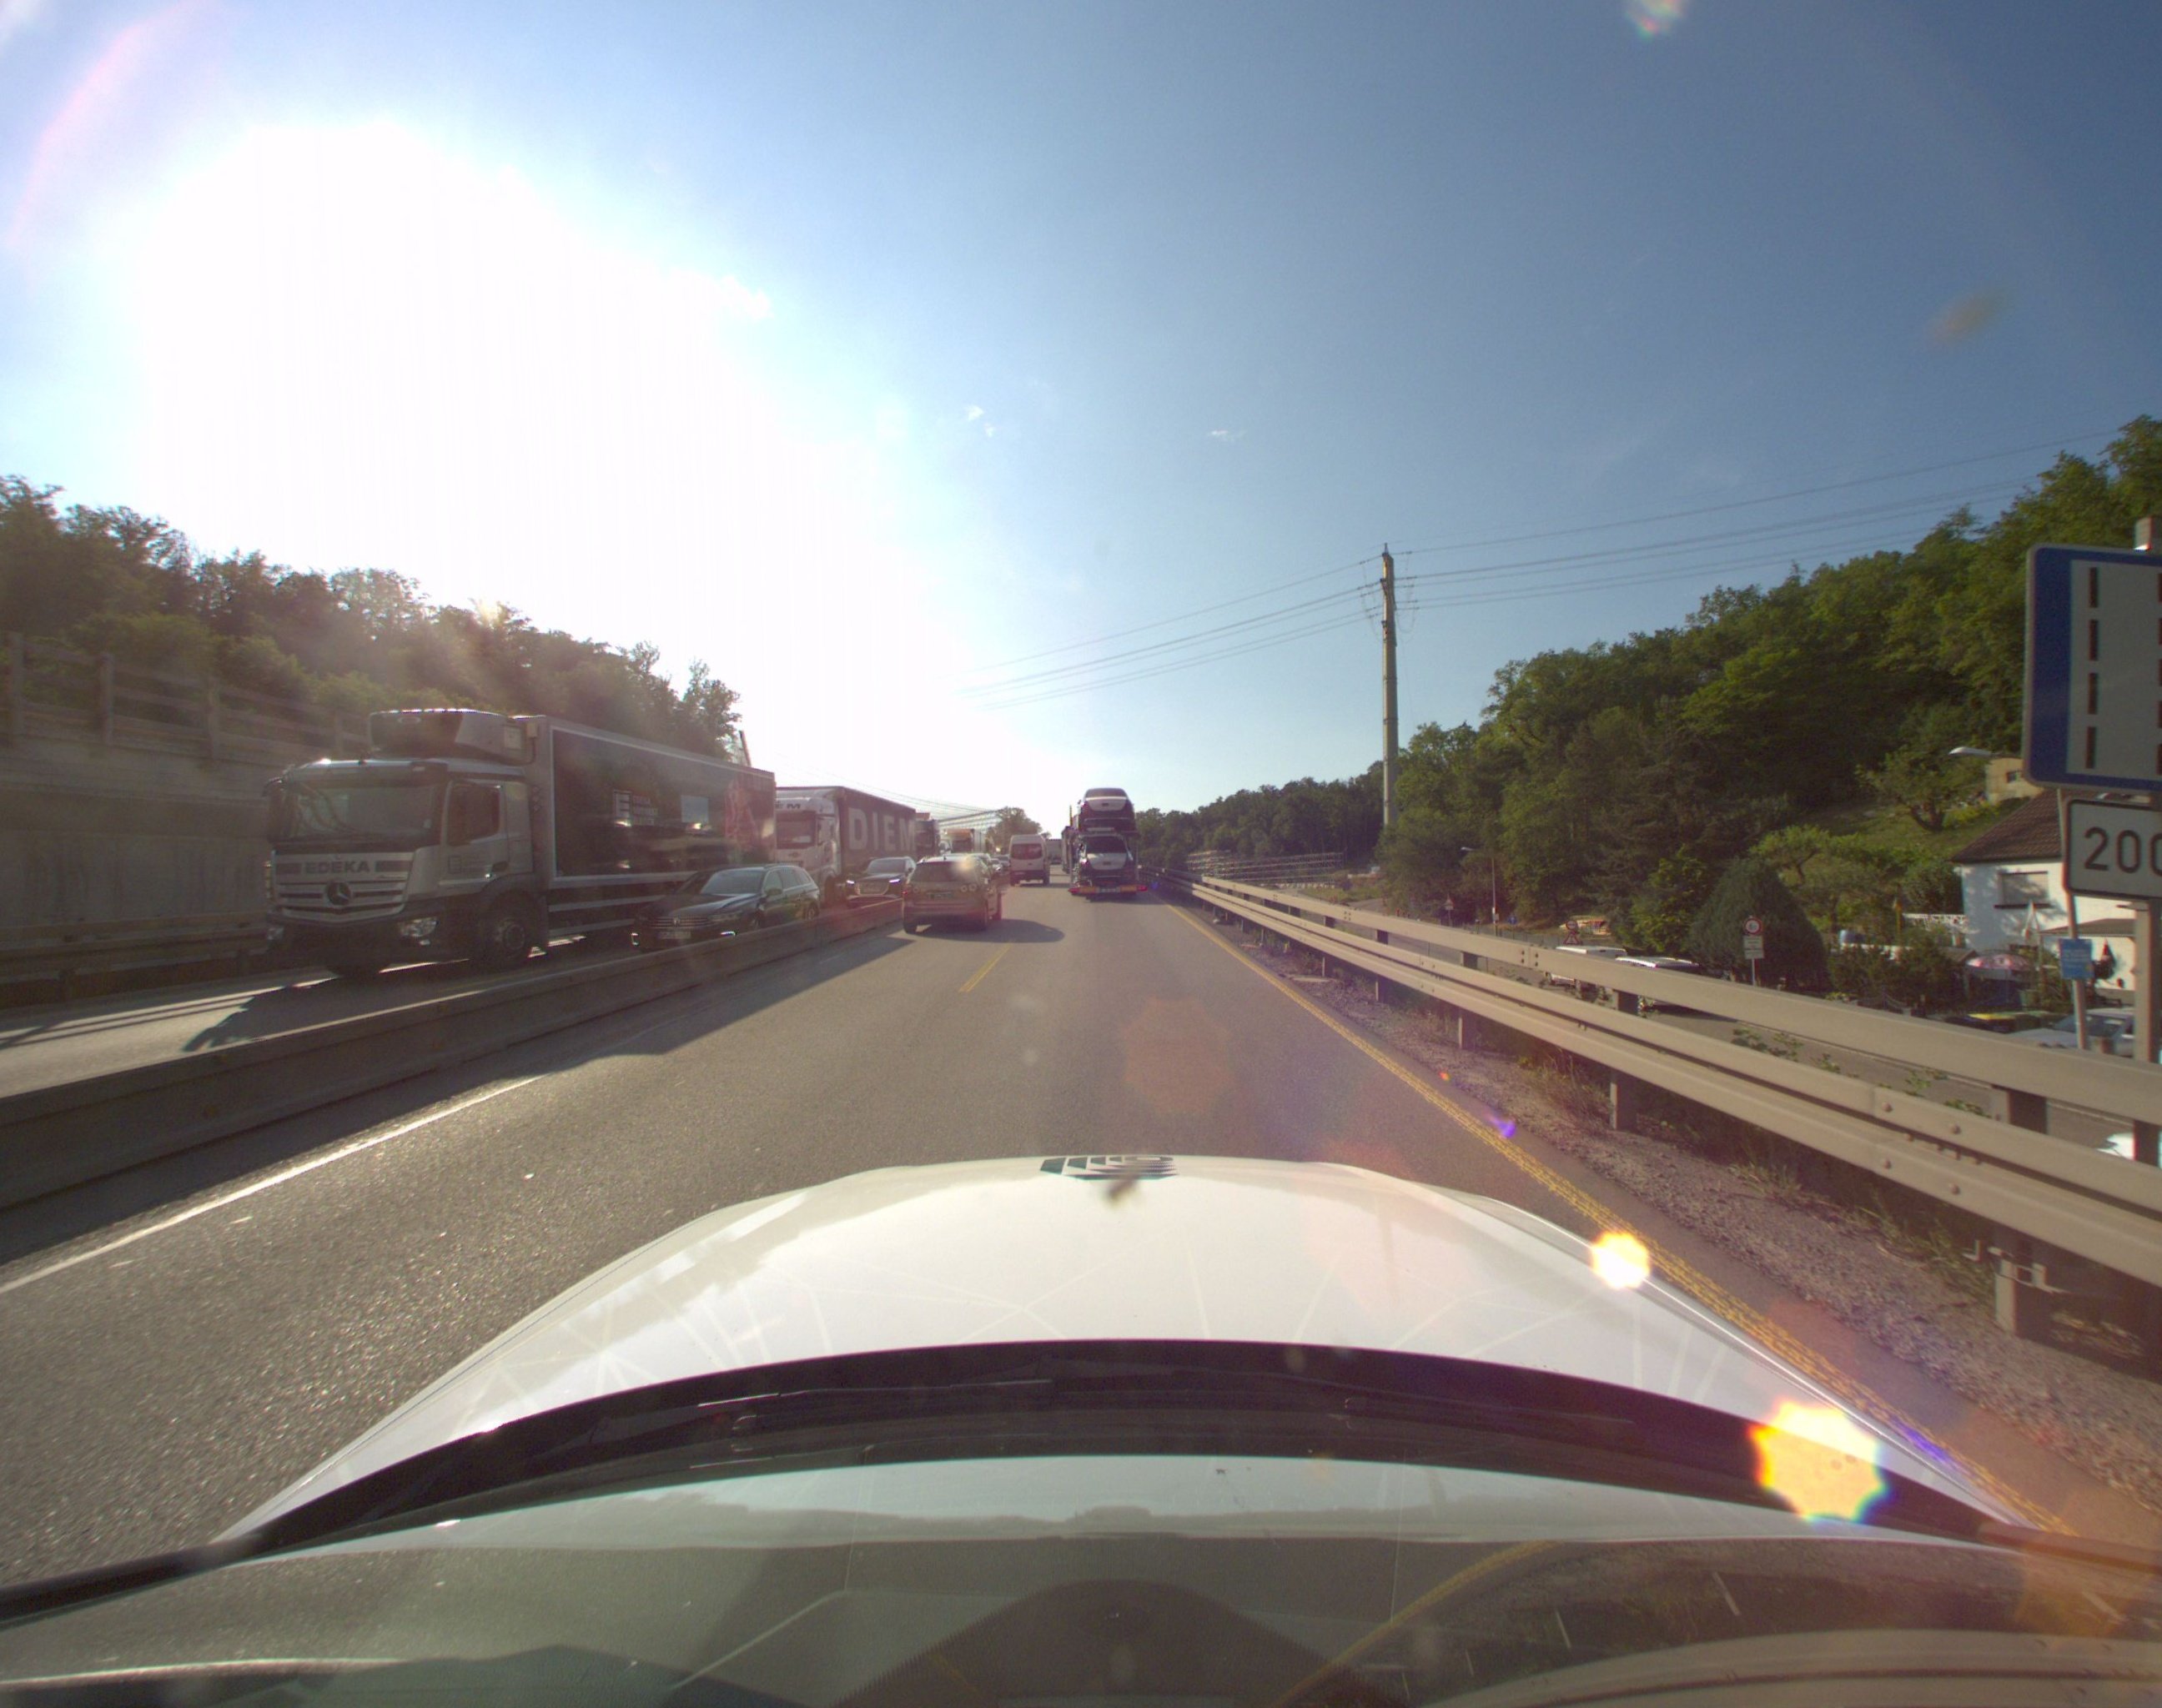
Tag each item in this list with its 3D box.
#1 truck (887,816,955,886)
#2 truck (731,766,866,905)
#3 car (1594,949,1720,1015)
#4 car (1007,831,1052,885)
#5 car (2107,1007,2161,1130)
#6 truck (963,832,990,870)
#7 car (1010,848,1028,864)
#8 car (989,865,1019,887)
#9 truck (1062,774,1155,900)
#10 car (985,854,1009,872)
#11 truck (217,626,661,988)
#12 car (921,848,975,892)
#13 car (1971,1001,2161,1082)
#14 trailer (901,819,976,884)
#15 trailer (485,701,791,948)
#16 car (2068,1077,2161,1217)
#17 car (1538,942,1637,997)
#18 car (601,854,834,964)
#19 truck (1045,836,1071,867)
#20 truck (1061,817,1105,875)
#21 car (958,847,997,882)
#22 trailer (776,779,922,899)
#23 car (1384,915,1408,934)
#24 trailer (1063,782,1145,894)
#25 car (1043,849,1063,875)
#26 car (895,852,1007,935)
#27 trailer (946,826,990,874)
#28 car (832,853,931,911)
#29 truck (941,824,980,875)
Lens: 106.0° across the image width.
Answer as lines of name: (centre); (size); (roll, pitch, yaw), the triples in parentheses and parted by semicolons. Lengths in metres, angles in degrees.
truck: (-9.493, -0.148, 49.169); (2.741, 3.805, 7.106); (-3, -1, -2)
truck: (-9.285, -0.545, 27.376); (2.742, 4.115, 5.027); (-3, -1, -2)
car: (21.832, 4.808, 31.150); (1.983, 1.917, 4.876); (-2, -3, 10)
car: (-2.684, 0.247, 43.528); (1.972, 2.684, 4.147); (-2, -1, 1)
car: (23.943, 4.274, 15.619); (5.438, 2.264, 2.003); (0, -2, 6)
truck: (-12.035, -0.304, 93.953); (2.689, 4.197, 4.390); (-2, -1, -5)
car: (-7.196, 0.274, 95.139); (1.922, 1.701, 4.686); (-2, -1, -3)
car: (-5.829, 1.644, 62.360); (1.797, 1.521, 4.815); (-3, -1, 0)
truck: (0.838, -0.500, 28.966); (2.861, 3.980, 5.768); (-2, -1, -1)
car: (-7.930, 0.856, 77.591); (1.955, 1.645, 4.843); (-2, -1, -3)
truck: (-9.402, -0.566, 12.784); (2.910, 4.514, 5.027); (-1, -1, 0)
car: (-6.399, 0.809, 39.643); (1.827, 1.963, 4.897); (-2, -1, -1)
car: (24.713, 4.406, 19.252); (5.063, 1.557, 1.718); (-1, -2, 6)
trailer: (-9.719, -0.071, 57.684); (2.741, 3.815, 16.035); (-3, 0, -2)
trailer: (-9.334, -0.499, 18.373); (2.901, 4.466, 7.152); (-1, -1, 1)
car: (15.486, 4.090, 9.991); (1.658, 1.662, 4.480); (-2, -3, 8)
car: (22.987, 5.212, 37.242); (1.852, 1.986, 5.062); (-2, -3, 8)
car: (-6.153, 0.892, 14.546); (1.855, 1.586, 4.746); (2, -2, 1)
truck: (-3.701, -0.436, 132.748); (3.636, 4.677, 11.696); (-1, 0, 1)
truck: (0.016, -0.699, 72.442); (3.221, 4.677, 11.683); (-1, 0, -3)
car: (-6.258, 0.666, 49.558); (1.819, 1.933, 5.124); (-4, -1, -3)
trailer: (-9.425, -0.487, 35.052); (2.707, 4.122, 12.486); (-3, -1, -1)
car: (30.029, 6.677, 77.644); (1.515, 1.461, 4.283); (-2, -1, 14)
trailer: (0.740, -0.444, 37.393); (2.866, 3.994, 15.271); (-2, -1, -1)
car: (-2.165, 0.662, 64.292); (1.524, 2.014, 3.997); (1, -1, -2)
car: (-2.779, 0.822, 18.274); (1.694, 1.587, 4.148); (-2, -1, 2)
trailer: (-10.866, -0.158, 80.006); (2.709, 4.135, 16.731); (-2, -1, -3)
car: (-6.417, 0.866, 26.855); (1.871, 1.605, 5.367); (-3, -1, 0)
truck: (-10.369, -0.339, 70.732); (2.695, 4.141, 5.787); (-2, -1, -3)
